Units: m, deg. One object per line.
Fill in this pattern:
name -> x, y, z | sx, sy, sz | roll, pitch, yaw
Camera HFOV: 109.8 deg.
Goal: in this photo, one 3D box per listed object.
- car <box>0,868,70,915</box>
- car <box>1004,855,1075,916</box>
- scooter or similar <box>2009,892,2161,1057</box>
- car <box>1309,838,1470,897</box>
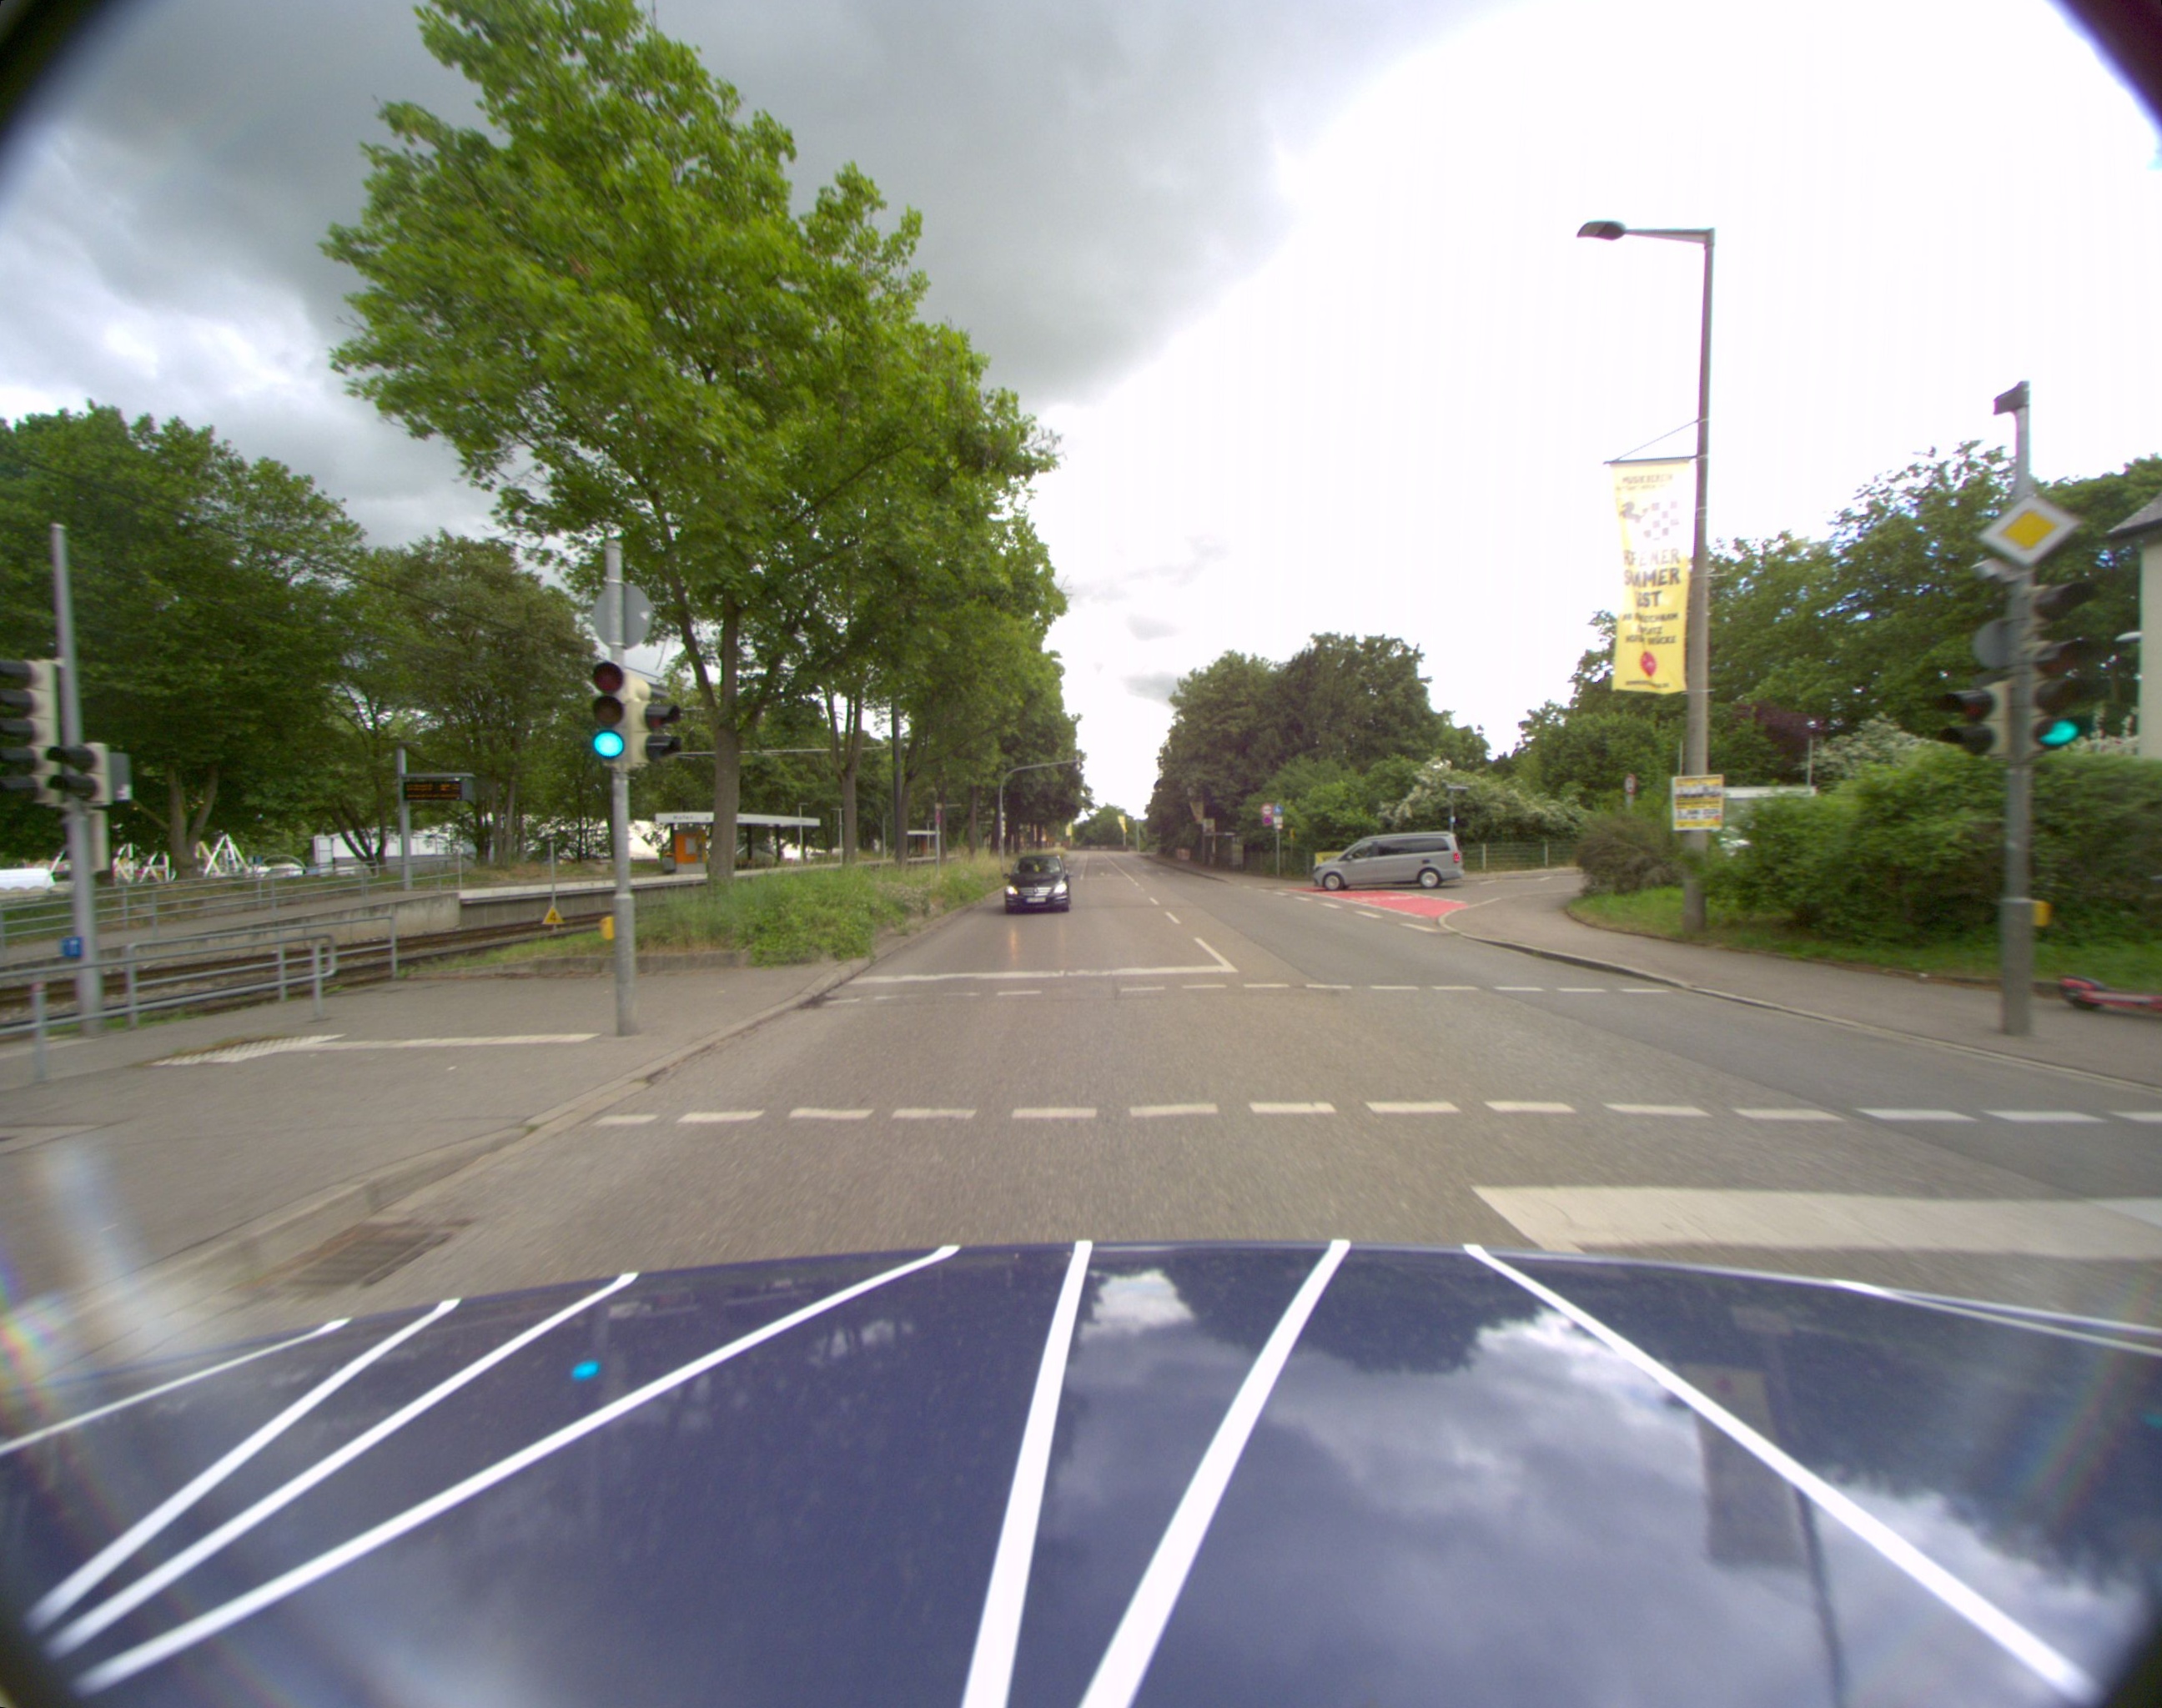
car -> -57.590, 2.021, 39.557 | 1.998, 2.369, 5.807 | -2, 0, 1
car -> -1.120, 0.833, 22.246 | 1.751, 1.556, 4.074 | 0, 1, 1
scooter or similar -> 8.873, 0.991, 6.371 | 0.463, 1.252, 1.426 | -2, 1, 2
car -> 11.075, 0.503, 27.358 | 5.142, 1.916, 1.955 | -2, 1, 28
